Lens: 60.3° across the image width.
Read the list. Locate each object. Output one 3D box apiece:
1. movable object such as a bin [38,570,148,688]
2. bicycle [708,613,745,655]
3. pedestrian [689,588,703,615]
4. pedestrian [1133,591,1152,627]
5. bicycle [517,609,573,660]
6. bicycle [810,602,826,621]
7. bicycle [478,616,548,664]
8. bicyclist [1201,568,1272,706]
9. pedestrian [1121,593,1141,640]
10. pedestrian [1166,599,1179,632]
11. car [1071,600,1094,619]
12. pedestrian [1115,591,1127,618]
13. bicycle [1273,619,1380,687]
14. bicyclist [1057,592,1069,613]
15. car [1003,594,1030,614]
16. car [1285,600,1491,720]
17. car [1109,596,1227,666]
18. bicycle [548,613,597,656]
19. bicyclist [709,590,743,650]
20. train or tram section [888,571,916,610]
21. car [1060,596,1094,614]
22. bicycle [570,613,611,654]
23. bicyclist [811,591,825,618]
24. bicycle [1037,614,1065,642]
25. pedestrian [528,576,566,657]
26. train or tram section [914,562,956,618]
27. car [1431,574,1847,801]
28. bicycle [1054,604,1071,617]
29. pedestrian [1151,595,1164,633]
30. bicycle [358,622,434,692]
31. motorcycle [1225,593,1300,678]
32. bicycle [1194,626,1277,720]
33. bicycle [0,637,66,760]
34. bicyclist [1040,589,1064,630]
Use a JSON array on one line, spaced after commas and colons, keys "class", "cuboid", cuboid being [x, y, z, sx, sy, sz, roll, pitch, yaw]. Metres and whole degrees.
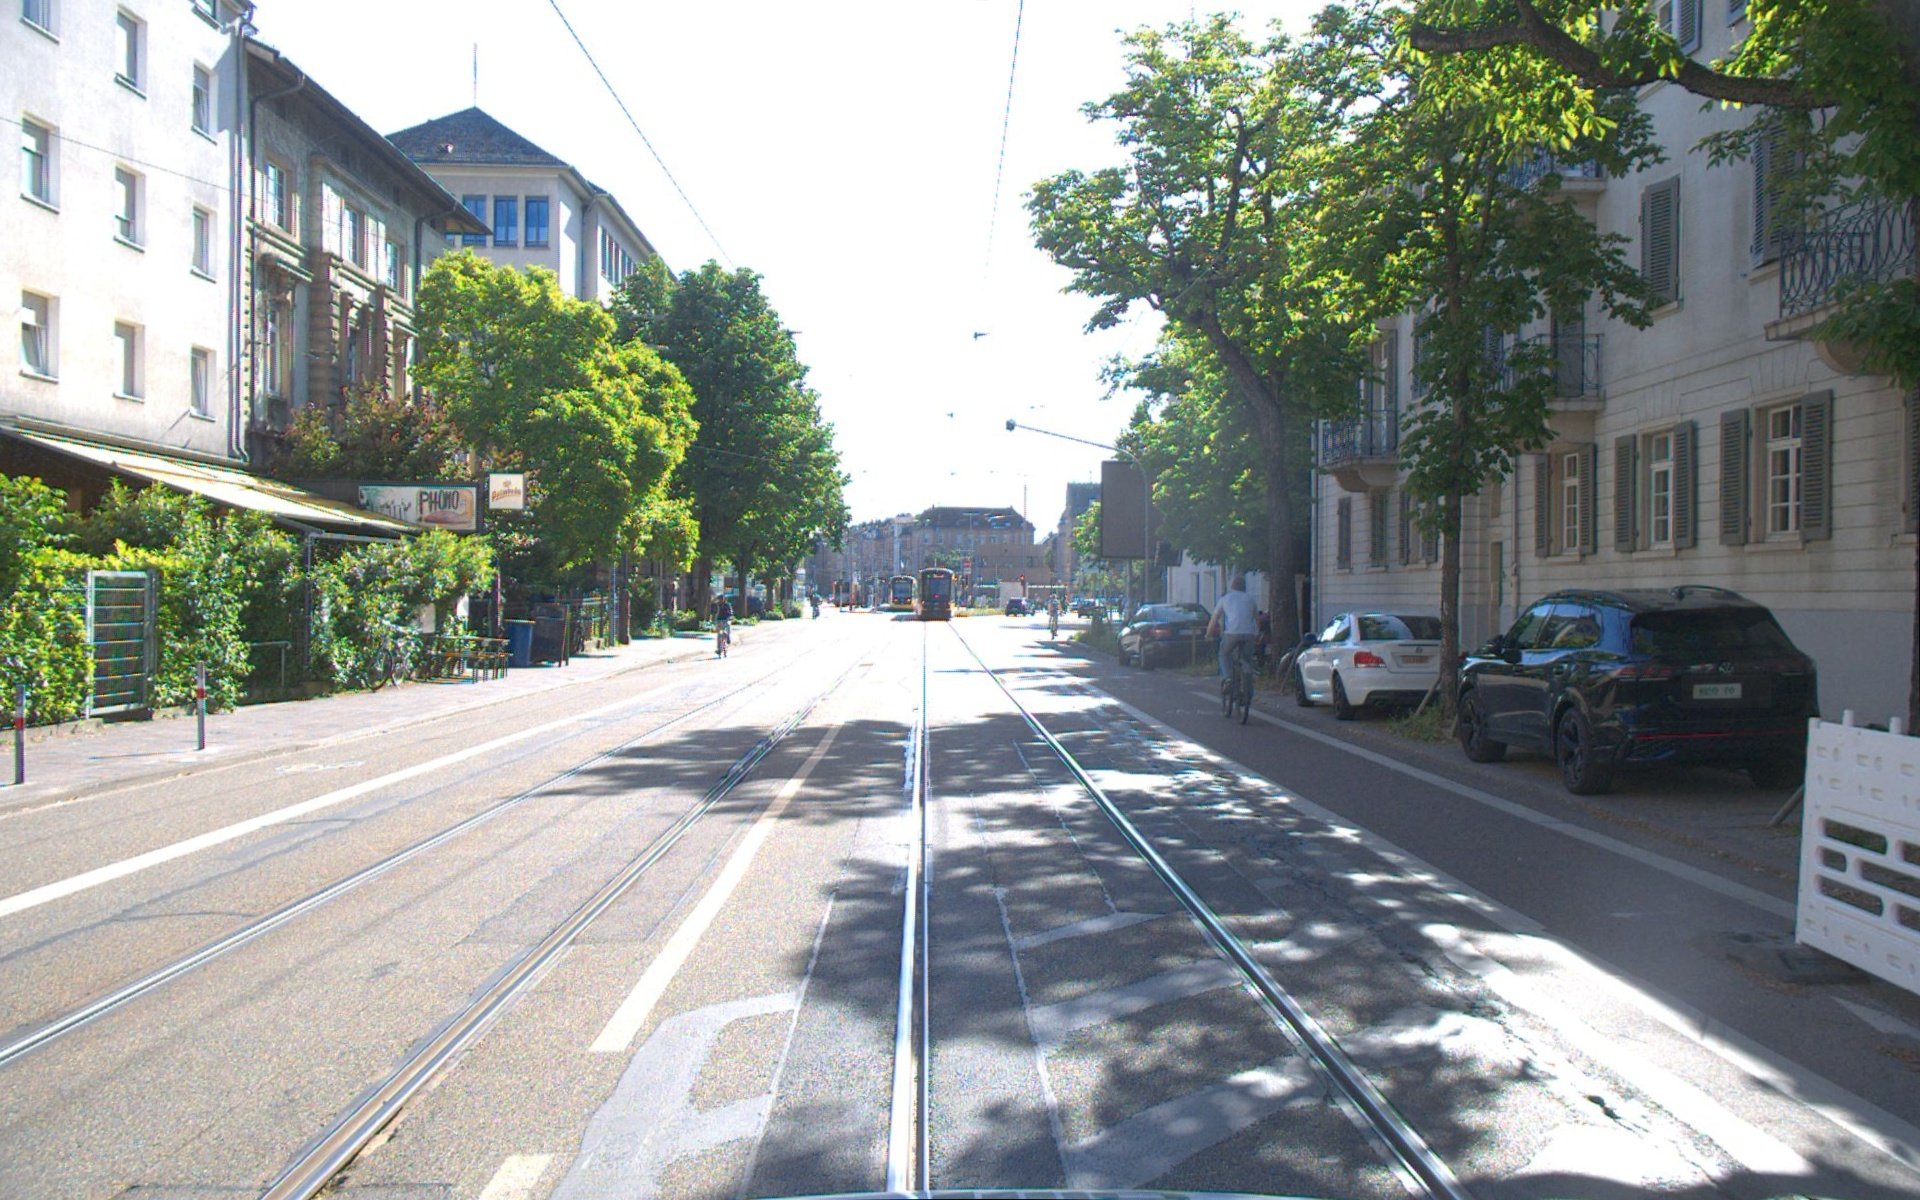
[{"class": "movable object such as a bin", "cuboid": [-11.251, 0.361, 21.510, 0.790, 1.482, 1.257, -1, 0, -3]}, {"class": "bicycle", "cuboid": [-6.571, 0.954, 46.563, 0.730, 1.101, 1.899, -3, 0, 0]}, {"class": "pedestrian", "cuboid": [-16.724, 0.080, 104.697, 0.686, 1.663, 0.759, 3, 0, -1]}, {"class": "pedestrian", "cuboid": [8.709, 0.425, 78.952, 0.839, 1.669, 0.993, 0, -2, 1]}, {"class": "bicycle", "cuboid": [-10.064, 0.817, 40.203, 0.632, 1.163, 1.906, 2, 0, 7]}, {"class": "bicycle", "cuboid": [-9.038, 0.742, 105.362, 0.672, 1.144, 1.932, -2, 0, 3]}, {"class": "bicycle", "cuboid": [-10.383, 0.904, 38.484, 0.623, 1.064, 2.023, 0, 0, 15]}, {"class": "bicyclist", "cuboid": [3.568, 0.466, 21.418, 0.723, 1.715, 0.972, 2, 0, 1]}, {"class": "pedestrian", "cuboid": [6.976, 0.682, 67.522, 0.670, 1.882, 0.955, -1, 0, -2]}, {"class": "pedestrian", "cuboid": [9.207, 0.684, 71.723, 0.507, 1.429, 0.765, 0, 0, 2]}, {"class": "car", "cuboid": [10.387, 0.770, 140.789, 1.752, 1.537, 3.713, 2, 0, 1]}, {"class": "pedestrian", "cuboid": [11.446, 0.313, 117.655, 0.624, 1.937, 1.134, -2, 0, 0]}, {"class": "bicycle", "cuboid": [6.020, 0.868, 27.242, 1.586, 1.061, 0.685, -1, 0, 0]}, {"class": "bicyclist", "cuboid": [8.875, 0.224, 142.334, 0.691, 1.730, 0.986, 3, 1, 23]}, {"class": "car", "cuboid": [4.761, 0.333, 139.454, 1.751, 1.632, 3.716, 2, 0, 10]}, {"class": "car", "cuboid": [5.693, 0.738, 22.532, 1.688, 1.406, 4.356, -1, 0, 1]}, {"class": "car", "cuboid": [4.828, 0.684, 39.051, 1.786, 1.484, 4.814, -1, 0, -5]}, {"class": "bicycle", "cuboid": [-10.014, 0.877, 42.780, 0.577, 1.064, 1.906, 1, 0, 7]}, {"class": "bicyclist", "cuboid": [-6.590, 0.557, 46.563, 0.730, 1.627, 1.118, -3, 0, 0]}, {"class": "train or tram section", "cuboid": [-5.853, -0.974, 167.028, 2.687, 3.715, 13.781, 0, 1, -2]}, {"class": "car", "cuboid": [11.444, 0.478, 162.043, 1.672, 1.672, 3.701, 2, 0, 34]}, {"class": "bicycle", "cuboid": [-10.001, 0.898, 44.804, 0.577, 1.064, 1.905, 2, 0, 2]}, {"class": "bicyclist", "cuboid": [-9.052, 0.296, 105.345, 0.672, 1.673, 1.238, -2, 0, 3]}, {"class": "bicycle", "cuboid": [3.825, 1.158, 69.298, 0.690, 1.124, 1.718, 2, 1, 18]}, {"class": "pedestrian", "cuboid": [-9.609, 0.386, 38.486, 0.563, 1.863, 0.690, 0, 0, 18]}, {"class": "train or tram section", "cuboid": [-1.840, -0.734, 116.775, 2.687, 3.715, 13.781, 0, 1, -2]}, {"class": "car", "cuboid": [5.800, 0.648, 14.817, 1.774, 1.654, 4.583, -2, 0, 0]}, {"class": "bicycle", "cuboid": [8.817, 0.863, 142.270, 0.691, 1.073, 2.313, 3, 1, 23]}, {"class": "pedestrian", "cuboid": [8.551, 0.601, 71.728, 0.507, 1.628, 0.765, 0, 0, 2]}, {"class": "bicycle", "cuboid": [-9.457, 0.934, 27.790, 0.625, 1.077, 1.743, 3, 0, 0]}, {"class": "motorcycle", "cuboid": [5.679, 0.640, 31.210, 0.895, 1.514, 2.679, -2, 0, 0]}, {"class": "bicycle", "cuboid": [3.557, 0.919, 21.493, 0.723, 1.113, 2.111, 2, 0, 1]}, {"class": "bicycle", "cuboid": [-9.319, 0.933, 15.668, 0.648, 1.108, 1.840, 3, -1, -1]}, {"class": "bicyclist", "cuboid": [3.849, 0.399, 69.291, 0.690, 1.704, 1.102, 2, 0, 18]}]
